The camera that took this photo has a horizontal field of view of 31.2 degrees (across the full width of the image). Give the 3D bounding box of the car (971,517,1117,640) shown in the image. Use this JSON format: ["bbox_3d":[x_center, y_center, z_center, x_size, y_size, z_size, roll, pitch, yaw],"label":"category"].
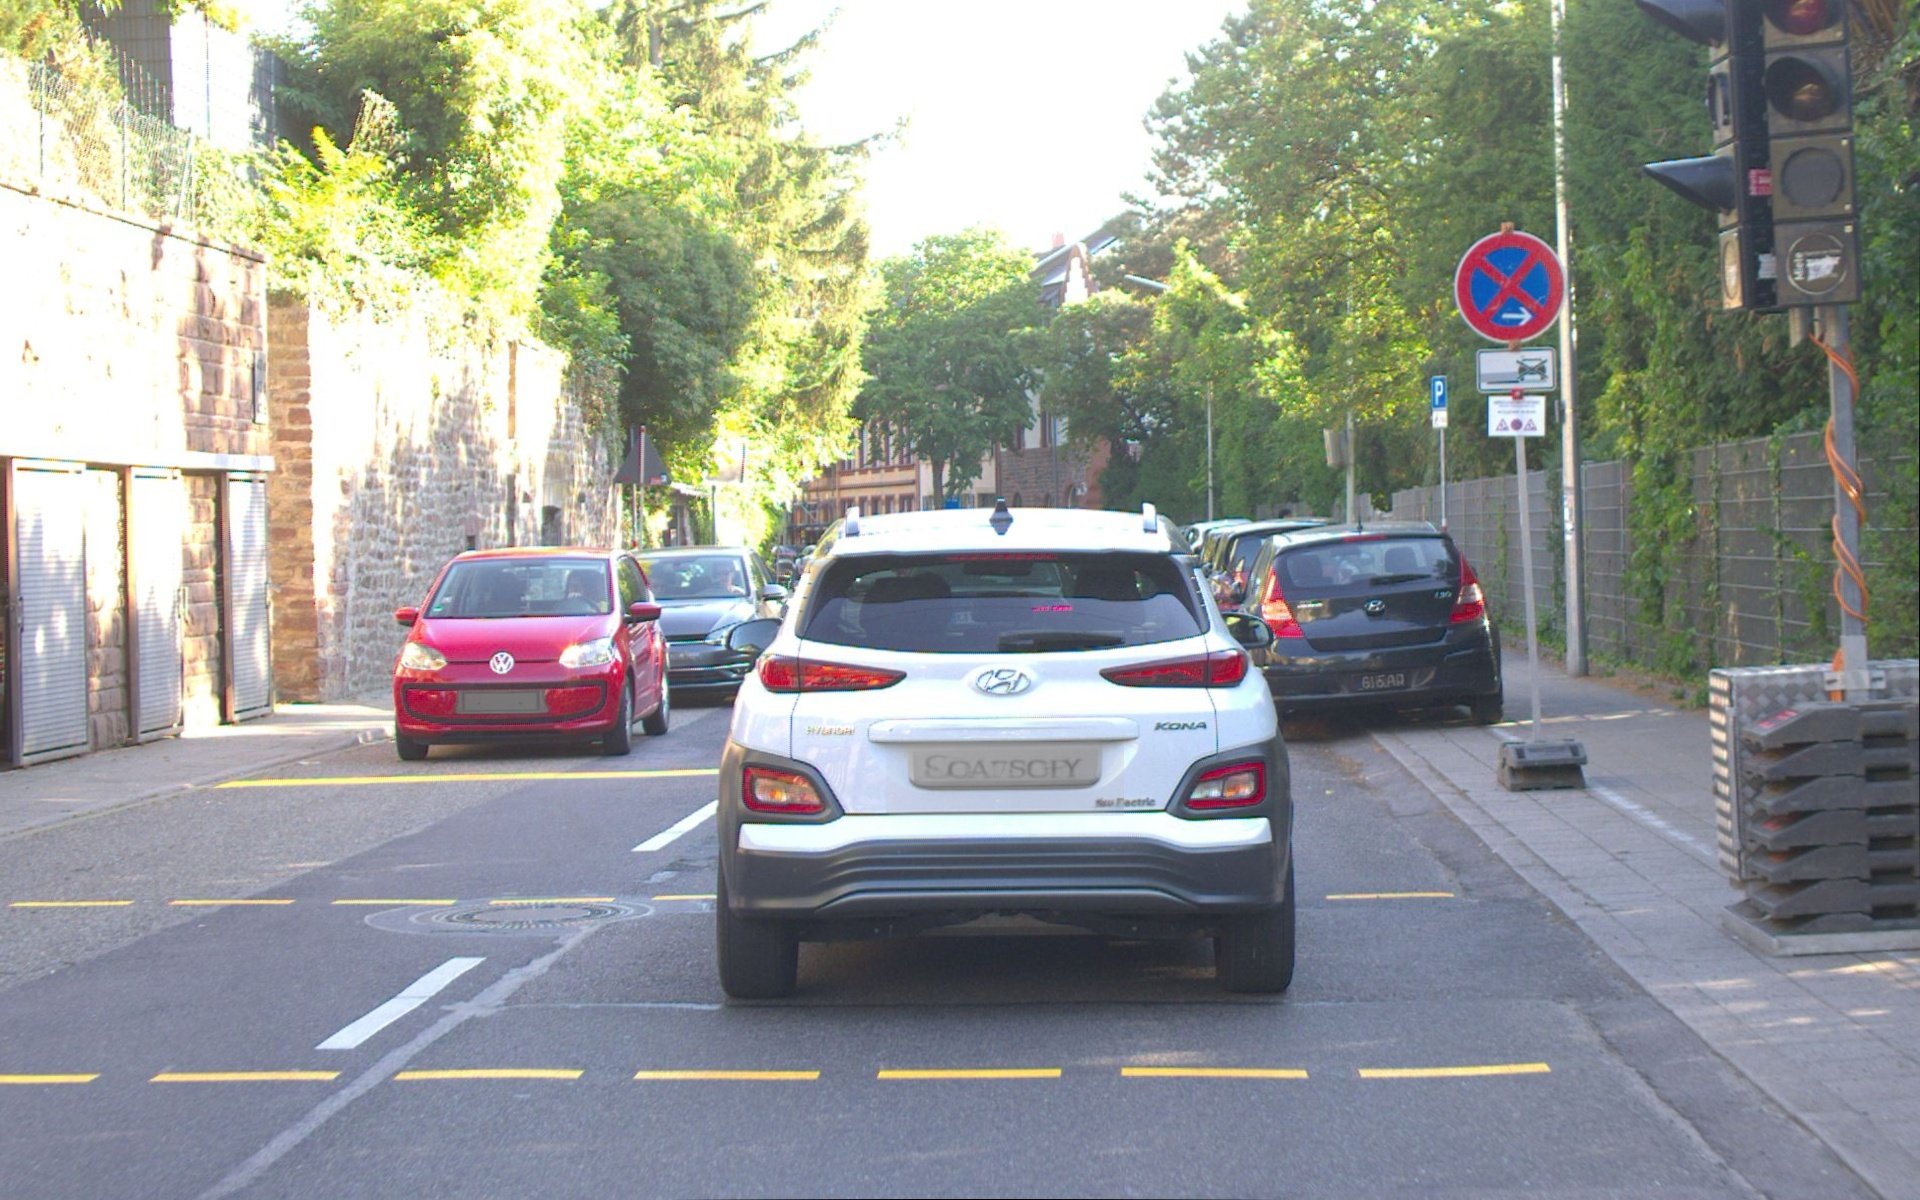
[{"bbox_3d":[1.085,-0.298,42.958,1.571,1.472,3.547,0,1,6],"label":"car"}]

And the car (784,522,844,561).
[{"bbox_3d":[-6.184,-2.484,145.539,1.755,1.611,4.002,0,2,-14],"label":"car"}]

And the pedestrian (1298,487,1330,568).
[{"bbox_3d":[7.009,-1.431,68.048,0.503,1.563,0.503,-4,1,4],"label":"pedestrian"}]

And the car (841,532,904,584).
[{"bbox_3d":[-2.753,-1.310,107.389,1.741,1.469,4.000,-5,1,-3],"label":"car"}]

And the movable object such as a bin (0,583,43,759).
[{"bbox_3d":[-6.705,0.484,23.433,0.658,1.171,0.665,-2,1,4],"label":"movable object such as a bin"}]

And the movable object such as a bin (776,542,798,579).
[{"bbox_3d":[-4.646,-1.064,92.449,0.495,1.008,1.112,0,1,3],"label":"movable object such as a bin"}]

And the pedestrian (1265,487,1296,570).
[{"bbox_3d":[6.377,-1.422,68.362,0.503,1.601,0.491,-4,1,4],"label":"pedestrian"}]

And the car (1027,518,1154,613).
[{"bbox_3d":[2.223,-0.601,57.627,1.694,1.528,3.880,-1,1,8],"label":"car"}]

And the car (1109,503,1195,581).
[{"bbox_3d":[4.066,-1.252,73.358,1.694,1.442,3.882,-4,2,3],"label":"car"}]

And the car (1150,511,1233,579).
[{"bbox_3d":[5.671,-1.346,84.524,1.593,1.514,3.933,-4,1,-1],"label":"car"}]

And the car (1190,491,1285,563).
[{"bbox_3d":[5.986,-1.590,74.435,1.686,1.426,4.000,-3,1,1],"label":"car"}]

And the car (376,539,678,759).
[{"bbox_3d":[-3.062,0.298,24.926,1.627,1.417,3.563,-2,1,1],"label":"car"}]

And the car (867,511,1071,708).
[{"bbox_3d":[0.129,0.033,29.483,1.512,1.527,3.547,-1,2,3],"label":"car"}]

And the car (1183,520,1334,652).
[{"bbox_3d":[3.645,-0.221,41.919,1.711,1.492,4.813,1,1,5],"label":"car"}]

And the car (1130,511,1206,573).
[{"bbox_3d":[5.439,-1.532,90.326,1.593,1.484,3.602,-4,1,-1],"label":"car"}]

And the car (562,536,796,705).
[{"bbox_3d":[-2.544,0.144,31.917,1.649,1.406,3.931,-2,1,2],"label":"car"}]

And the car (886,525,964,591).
[{"bbox_3d":[-0.818,-1.017,82.470,1.550,1.461,3.568,-3,1,3],"label":"car"}]

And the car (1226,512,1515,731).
[{"bbox_3d":[2.935,0.095,25.281,1.794,1.436,4.000,-2,1,3],"label":"car"}]

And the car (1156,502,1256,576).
[{"bbox_3d":[5.667,-1.400,79.454,1.593,1.560,4.001,-3,1,-5],"label":"car"}]

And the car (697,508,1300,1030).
[{"bbox_3d":[0.116,0.458,12.129,1.772,1.537,4.000,0,1,0],"label":"car"}]

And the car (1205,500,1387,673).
[{"bbox_3d":[3.457,-0.157,35.474,1.653,1.558,2.872,-6,0,5],"label":"car"}]
